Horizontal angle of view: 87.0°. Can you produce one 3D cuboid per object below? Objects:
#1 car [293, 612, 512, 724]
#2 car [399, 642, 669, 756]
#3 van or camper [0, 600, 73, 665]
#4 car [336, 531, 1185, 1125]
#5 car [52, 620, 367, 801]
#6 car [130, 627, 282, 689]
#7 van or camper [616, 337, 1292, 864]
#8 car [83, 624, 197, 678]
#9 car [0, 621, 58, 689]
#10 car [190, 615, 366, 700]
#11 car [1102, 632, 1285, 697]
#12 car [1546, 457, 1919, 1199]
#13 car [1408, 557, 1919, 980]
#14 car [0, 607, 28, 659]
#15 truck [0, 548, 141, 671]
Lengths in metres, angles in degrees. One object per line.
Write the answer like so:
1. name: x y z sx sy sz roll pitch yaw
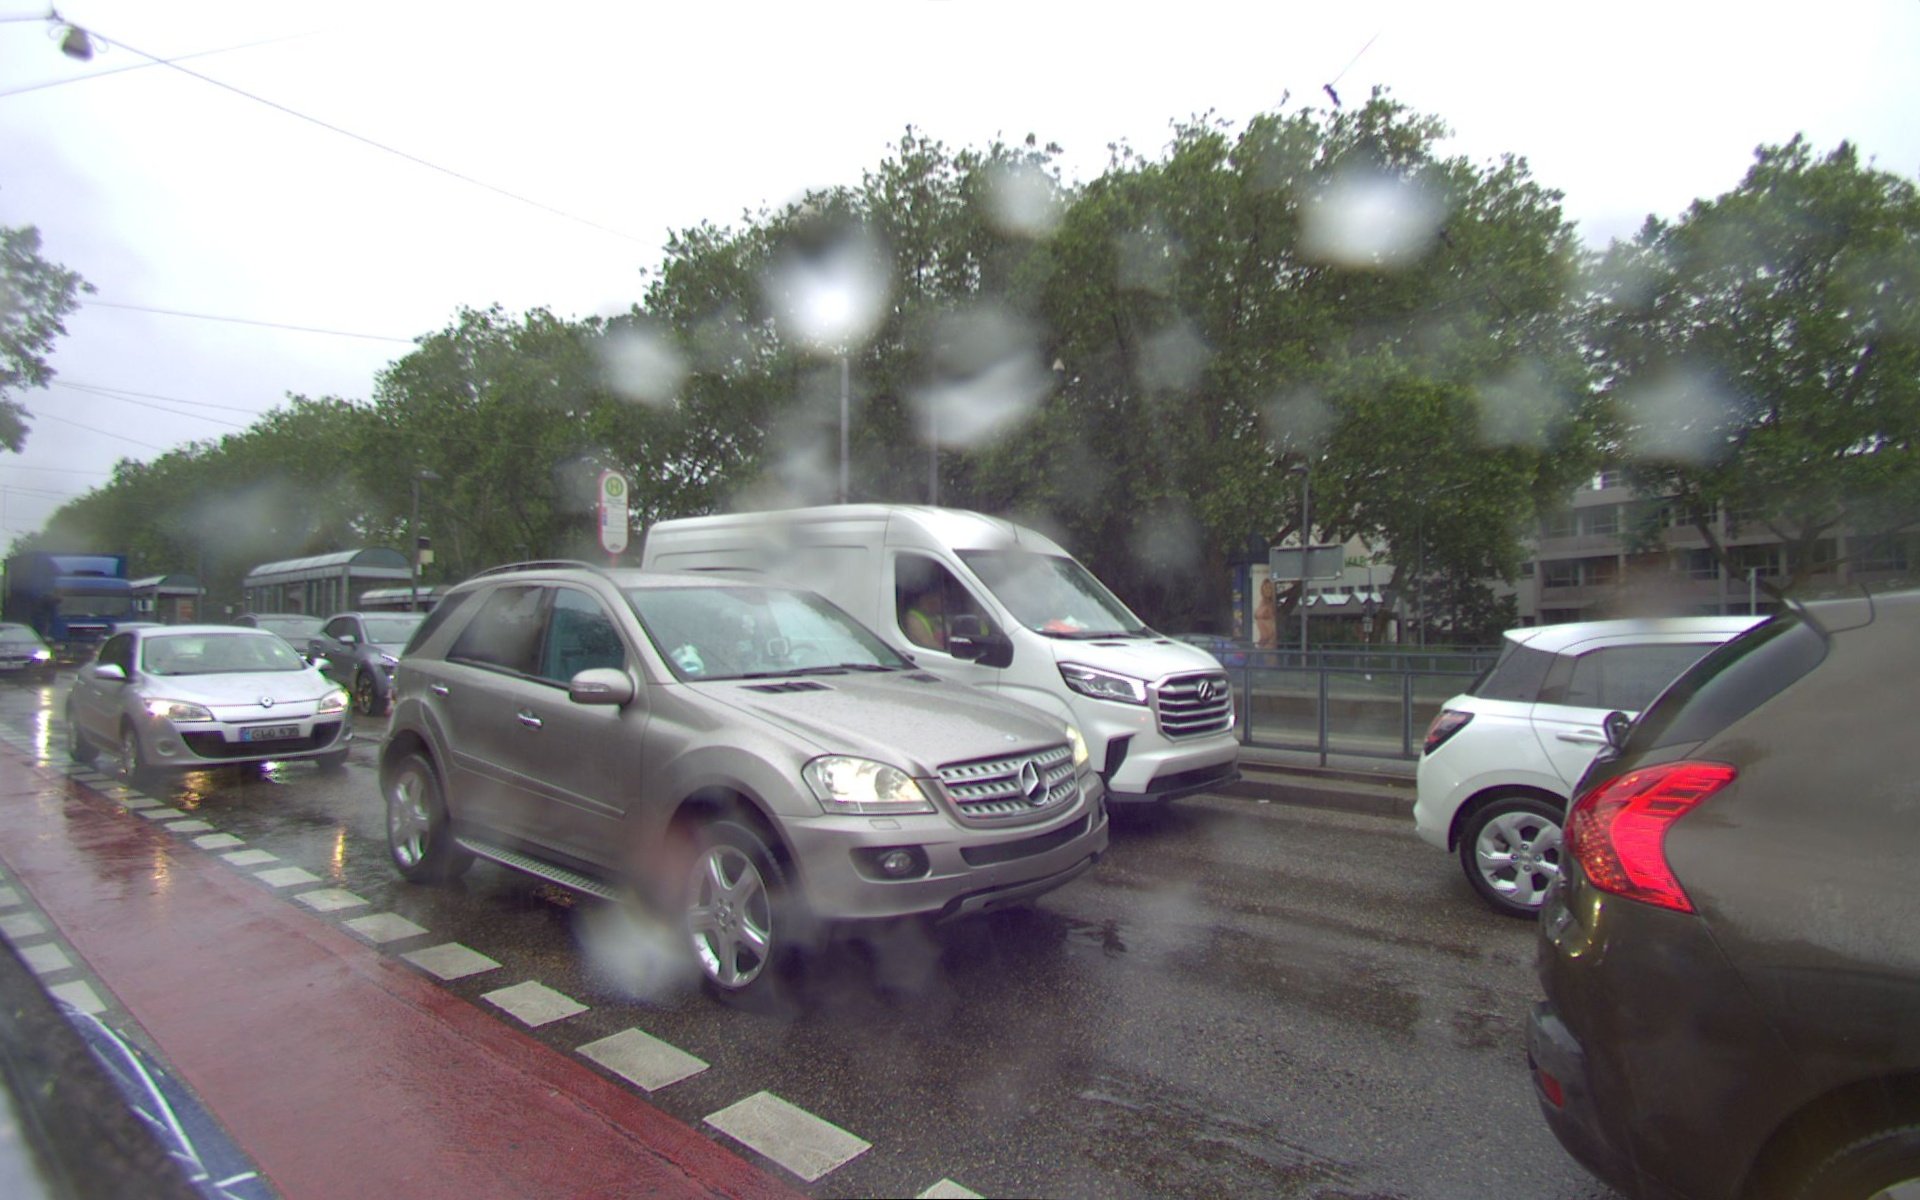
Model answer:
1. car: -9.487 1.056 17.078 4.454 1.636 1.894 -1 -2 43
2. car: -5.453 1.131 12.709 4.084 1.126 1.448 -1 -1 40
3. van or camper: -40.049 1.360 43.547 6.427 2.590 1.973 -1 0 41
4. car: -1.325 0.718 5.265 4.459 1.783 2.004 -1 -1 40
5. car: -7.823 0.964 10.418 3.998 1.489 1.750 -1 -1 40
6. car: -18.833 1.381 25.202 4.602 1.405 1.973 -1 -3 40
7. van or camper: -0.392 0.066 8.772 5.846 3.166 2.136 -1 -2 40
8. car: -24.345 1.453 30.008 4.074 1.498 1.871 -1 -2 40
9. car: -23.823 1.311 24.905 3.997 1.590 1.875 -1 -2 40
10. car: -14.652 1.163 21.677 4.316 1.633 1.974 -1 -2 40
11. car: 5.741 1.528 25.104 3.998 1.397 1.973 -1 -1 41
12. car: 3.282 0.593 1.234 4.170 1.681 1.815 -1 -1 41
13. car: 4.272 0.668 4.540 3.834 1.641 1.628 -1 -2 41
14. car: -46.837 1.590 49.091 5.727 2.445 1.972 -1 0 43
15. truck: -32.296 0.443 36.283 9.803 3.919 2.513 -1 -3 40
